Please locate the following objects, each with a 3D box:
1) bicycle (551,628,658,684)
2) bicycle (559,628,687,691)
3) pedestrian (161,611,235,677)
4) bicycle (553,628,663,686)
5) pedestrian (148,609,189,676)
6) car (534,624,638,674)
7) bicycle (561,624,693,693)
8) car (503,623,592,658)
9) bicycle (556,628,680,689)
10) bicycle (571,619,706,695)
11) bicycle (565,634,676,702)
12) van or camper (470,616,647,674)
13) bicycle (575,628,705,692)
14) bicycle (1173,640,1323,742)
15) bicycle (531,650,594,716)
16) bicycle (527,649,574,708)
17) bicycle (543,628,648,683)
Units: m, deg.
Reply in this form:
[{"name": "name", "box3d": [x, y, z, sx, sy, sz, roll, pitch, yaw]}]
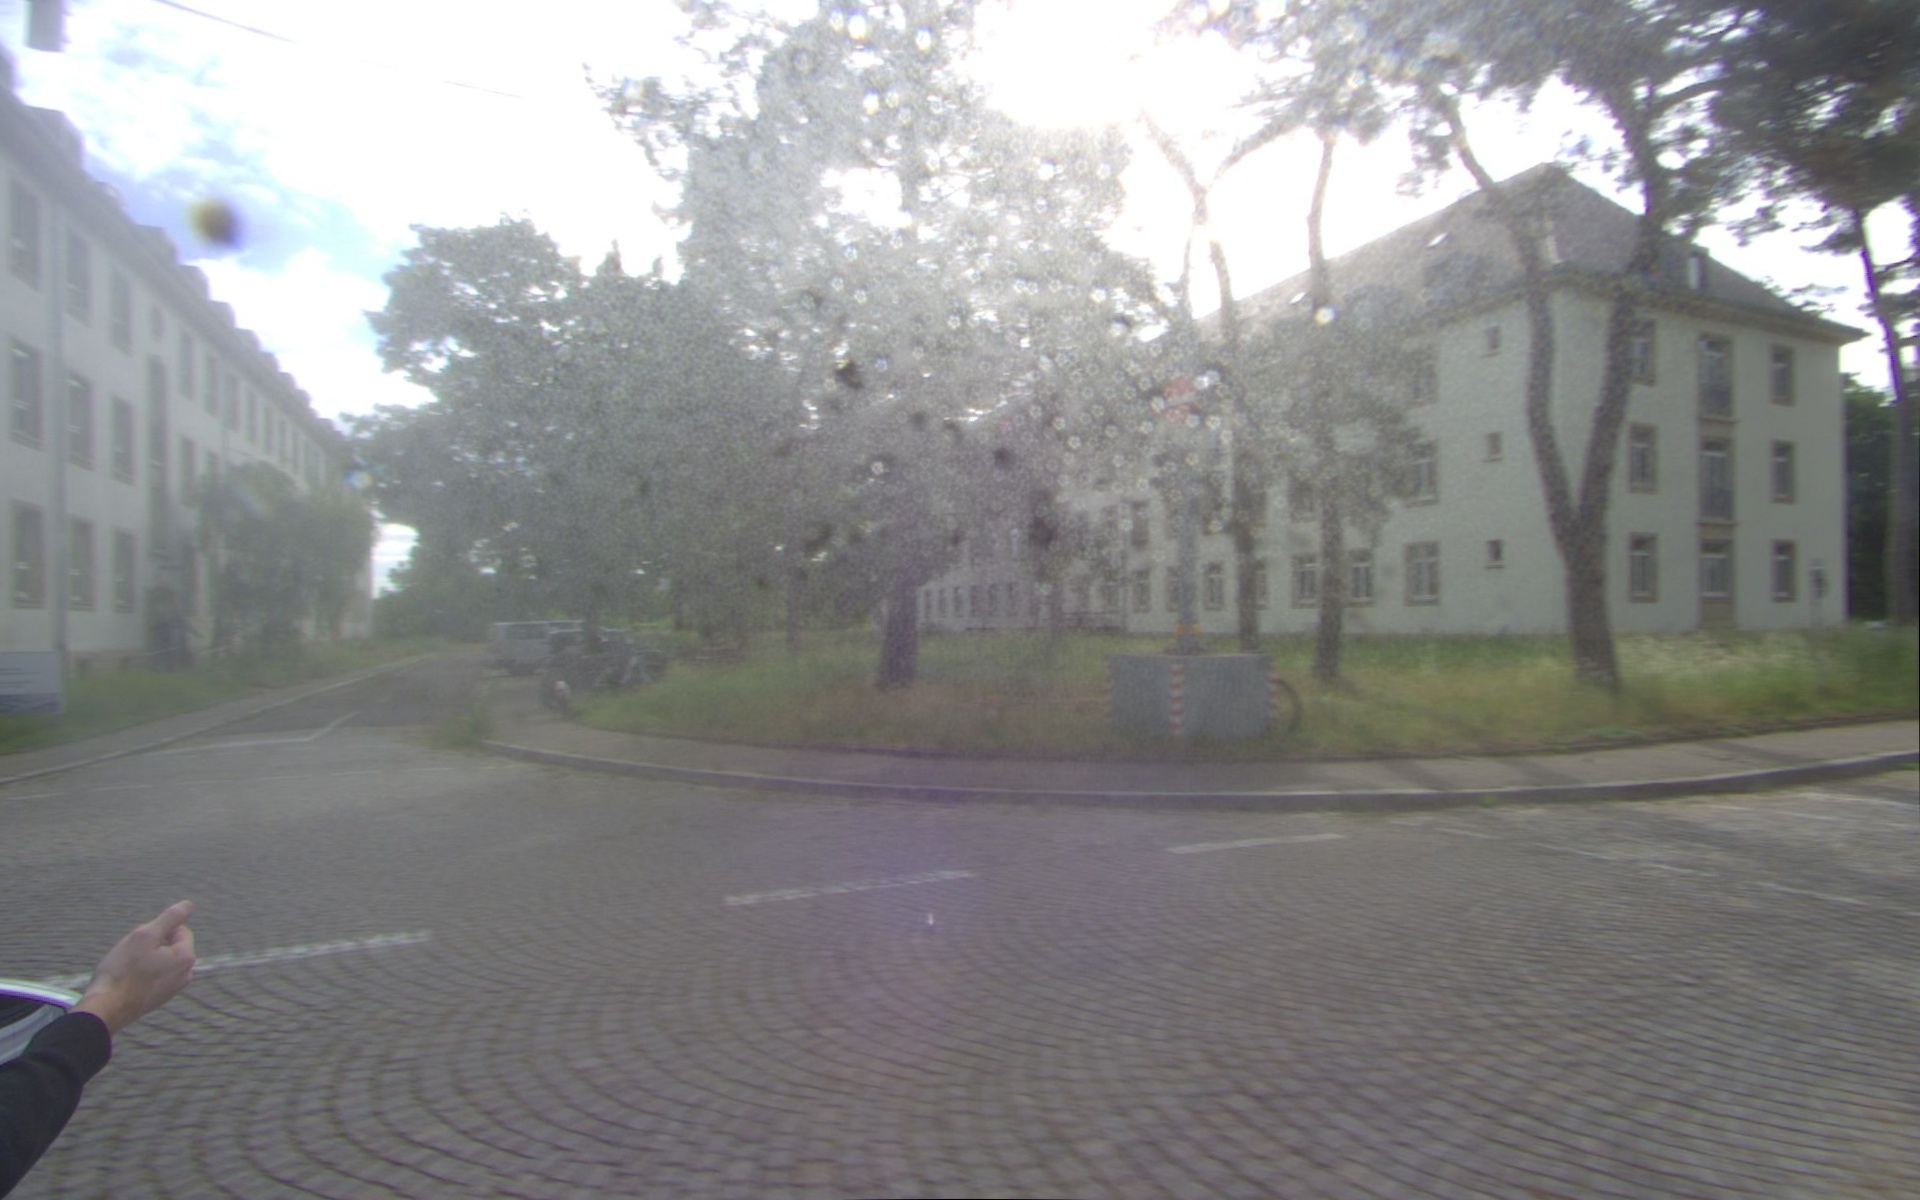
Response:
[{"name": "bicycle", "box3d": [-9.184, 1.422, 25.880, 2.536, 1.389, 0.947, 0, -1, -26]}, {"name": "bicycle", "box3d": [-7.911, 1.367, 23.508, 2.767, 1.389, 0.947, 0, -1, -25]}, {"name": "pedestrian", "box3d": [-22.640, 1.315, 29.791, 1.527, 1.893, 1.193, 1, -2, -27]}, {"name": "bicycle", "box3d": [-8.828, 1.395, 25.122, 2.536, 1.389, 0.947, 0, -1, -26]}, {"name": "pedestrian", "box3d": [-23.621, 1.266, 29.908, 0.857, 1.956, 0.831, 2, -2, -36]}, {"name": "car", "box3d": [-12.820, 1.689, 34.336, 3.185, 1.641, 1.931, 2, -2, -26]}, {"name": "bicycle", "box3d": [-7.090, 1.220, 21.326, 2.586, 1.385, 0.871, 0, -1, -25]}, {"name": "car", "box3d": [-20.411, 1.990, 49.561, 3.939, 1.620, 1.696, 0, -1, -27]}, {"name": "bicycle", "box3d": [-8.303, 1.396, 24.307, 2.767, 1.389, 0.947, 0, -1, -25]}, {"name": "bicycle", "box3d": [-7.135, 1.228, 22.259, 2.767, 1.604, 0.947, 0, -1, -25]}, {"name": "bicycle", "box3d": [-7.010, 1.373, 20.690, 2.086, 1.323, 0.871, 0, -1, -25]}, {"name": "van or camper", "box3d": [-14.740, 1.603, 36.927, 5.690, 1.982, 2.222, 1, -1, -37]}, {"name": "bicycle", "box3d": [-7.399, 1.358, 23.157, 2.767, 1.389, 0.947, 0, -1, -25]}, {"name": "bicycle", "box3d": [3.477, 1.066, 12.246, 0.636, 1.076, 1.826, -4, 1, -27]}, {"name": "bicycle", "box3d": [-6.804, 1.383, 17.079, 0.889, 1.009, 1.972, 0, -1, -25]}, {"name": "bicycle", "box3d": [-7.727, 1.451, 18.949, 0.717, 1.009, 1.974, 0, -1, -20]}, {"name": "bicycle", "box3d": [-9.673, 1.446, 26.573, 2.536, 1.389, 0.947, 0, -1, -26]}]
